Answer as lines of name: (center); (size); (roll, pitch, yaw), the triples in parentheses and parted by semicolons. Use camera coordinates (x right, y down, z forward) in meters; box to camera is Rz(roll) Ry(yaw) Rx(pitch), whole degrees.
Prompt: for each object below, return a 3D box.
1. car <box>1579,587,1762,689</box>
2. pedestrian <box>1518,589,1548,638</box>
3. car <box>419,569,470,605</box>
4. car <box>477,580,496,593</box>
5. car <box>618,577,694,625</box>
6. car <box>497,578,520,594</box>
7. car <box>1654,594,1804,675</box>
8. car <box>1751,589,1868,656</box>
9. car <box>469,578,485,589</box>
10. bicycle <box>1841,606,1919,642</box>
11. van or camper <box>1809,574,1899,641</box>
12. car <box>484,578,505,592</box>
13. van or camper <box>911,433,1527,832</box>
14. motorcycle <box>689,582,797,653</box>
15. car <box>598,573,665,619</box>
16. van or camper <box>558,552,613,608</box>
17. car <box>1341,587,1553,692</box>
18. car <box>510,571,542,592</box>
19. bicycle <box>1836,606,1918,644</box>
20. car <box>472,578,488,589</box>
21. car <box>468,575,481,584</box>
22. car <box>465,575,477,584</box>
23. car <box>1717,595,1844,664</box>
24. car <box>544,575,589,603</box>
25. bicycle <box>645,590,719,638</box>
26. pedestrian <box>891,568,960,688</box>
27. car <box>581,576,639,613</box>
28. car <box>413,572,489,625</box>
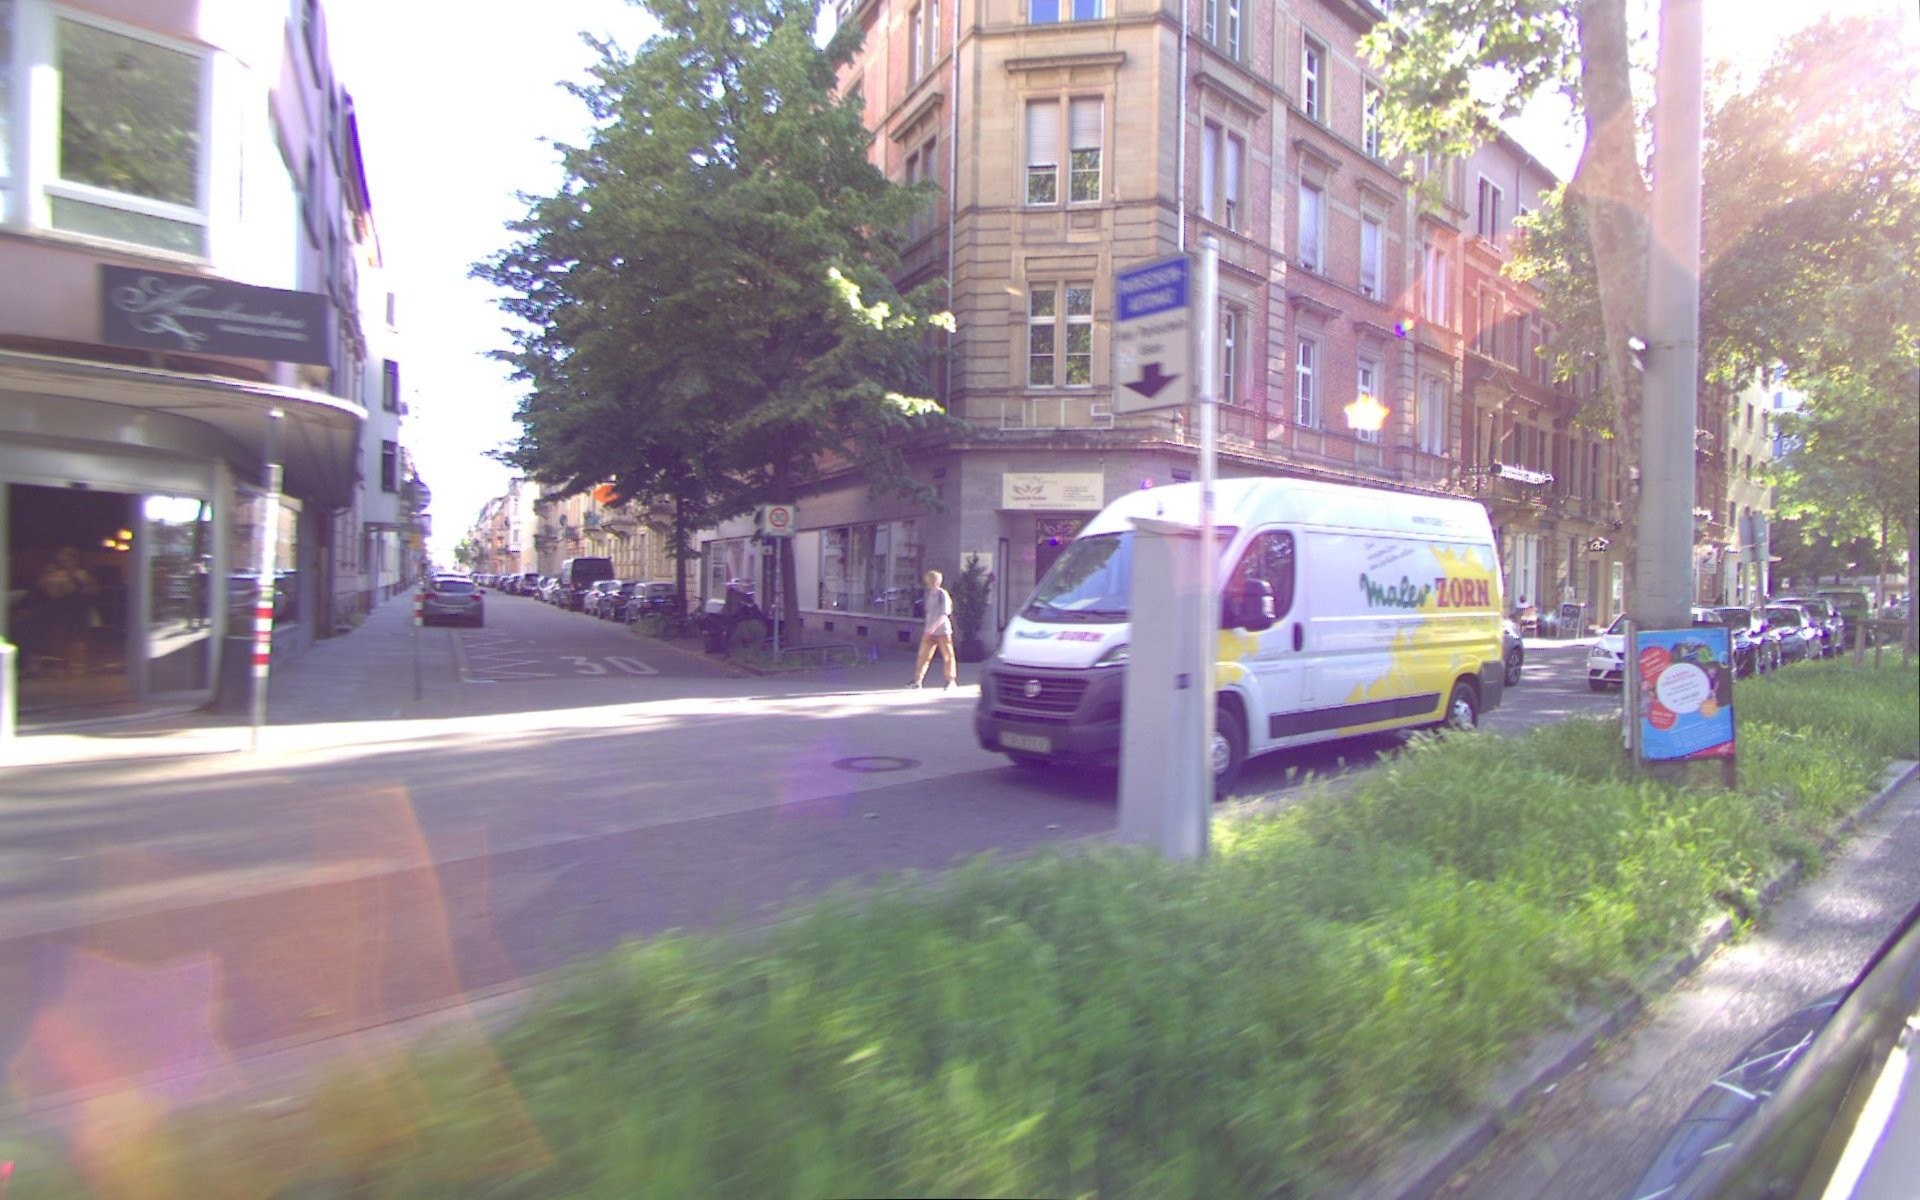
car: (12.528, 0.613, 17.755); (4.113, 1.592, 1.755); (0, -2, -43)
pedestrian: (18.709, 0.423, 33.041); (0.682, 1.566, 0.648); (0, 1, -43)
car: (-23.851, -0.615, 46.715); (1.959, 1.549, 4.286); (1, 1, -29)
car: (-57.871, -1.673, 123.667); (1.946, 1.498, 4.115); (1, 1, -26)
car: (-10.664, -0.004, 35.292); (1.946, 1.557, 4.116); (1, 1, -25)
car: (-44.318, -1.374, 99.257); (1.946, 1.498, 4.116); (1, 1, -25)
car: (16.074, 0.672, 21.078); (4.113, 1.516, 1.755); (0, -2, -43)
car: (23.275, 0.589, 27.675); (4.720, 1.668, 1.892); (0, -2, -43)
car: (-70.537, -2.359, 147.807); (1.946, 1.498, 4.115); (1, 1, -26)
bicycle: (34.520, 0.882, 37.939); (0.966, 1.310, 2.167); (1, 0, -41)
van or camper: (30.132, 0.266, 34.052); (4.694, 2.125, 1.835); (0, -2, -44)
car: (-52.329, -1.724, 113.730); (1.946, 1.498, 4.115); (1, 1, -26)
van or camper: (2.677, 0.216, 9.187); (6.155, 2.512, 2.188); (0, -1, -39)
motorcycle: (-5.118, 0.358, 24.329); (1.097, 1.535, 3.726); (2, 1, 12)
car: (-12.758, -0.177, 39.180); (1.946, 1.669, 4.116); (1, 1, -25)
van or camper: (-18.354, -0.994, 49.478); (1.986, 2.556, 5.324); (1, 1, -26)
car: (8.693, 0.622, 17.931); (4.109, 1.598, 1.758); (0, 2, -39)
car: (-33.466, -1.453, 78.059); (1.946, 1.498, 4.115); (1, 1, -27)
bicycle: (33.579, 0.892, 37.093); (2.160, 1.310, 0.969); (0, 0, 39)
car: (-67.495, -2.292, 142.139); (1.946, 1.498, 4.115); (1, 1, -26)
car: (-82.823, -3.510, 172.693); (1.946, 1.498, 4.115); (1, 1, -26)
car: (-85.688, -3.558, 177.282); (1.946, 1.498, 4.115); (1, 1, -26)
car: (19.610, 0.664, 24.118); (4.291, 1.483, 1.738); (0, -2, -43)
car: (-22.467, -0.649, 57.677); (1.946, 1.498, 4.115); (1, 1, -28)
bicycle: (-7.451, 0.372, 27.166); (1.804, 1.217, 0.611); (2, 0, 10)
pedestrian: (-0.515, 0.390, 14.959); (0.739, 1.705, 0.692); (0, 1, -41)
car: (-15.189, -0.261, 43.832); (1.946, 1.498, 4.116); (1, 1, -25)
car: (-16.121, -0.088, 31.939); (1.959, 1.549, 4.286); (1, 1, -29)
